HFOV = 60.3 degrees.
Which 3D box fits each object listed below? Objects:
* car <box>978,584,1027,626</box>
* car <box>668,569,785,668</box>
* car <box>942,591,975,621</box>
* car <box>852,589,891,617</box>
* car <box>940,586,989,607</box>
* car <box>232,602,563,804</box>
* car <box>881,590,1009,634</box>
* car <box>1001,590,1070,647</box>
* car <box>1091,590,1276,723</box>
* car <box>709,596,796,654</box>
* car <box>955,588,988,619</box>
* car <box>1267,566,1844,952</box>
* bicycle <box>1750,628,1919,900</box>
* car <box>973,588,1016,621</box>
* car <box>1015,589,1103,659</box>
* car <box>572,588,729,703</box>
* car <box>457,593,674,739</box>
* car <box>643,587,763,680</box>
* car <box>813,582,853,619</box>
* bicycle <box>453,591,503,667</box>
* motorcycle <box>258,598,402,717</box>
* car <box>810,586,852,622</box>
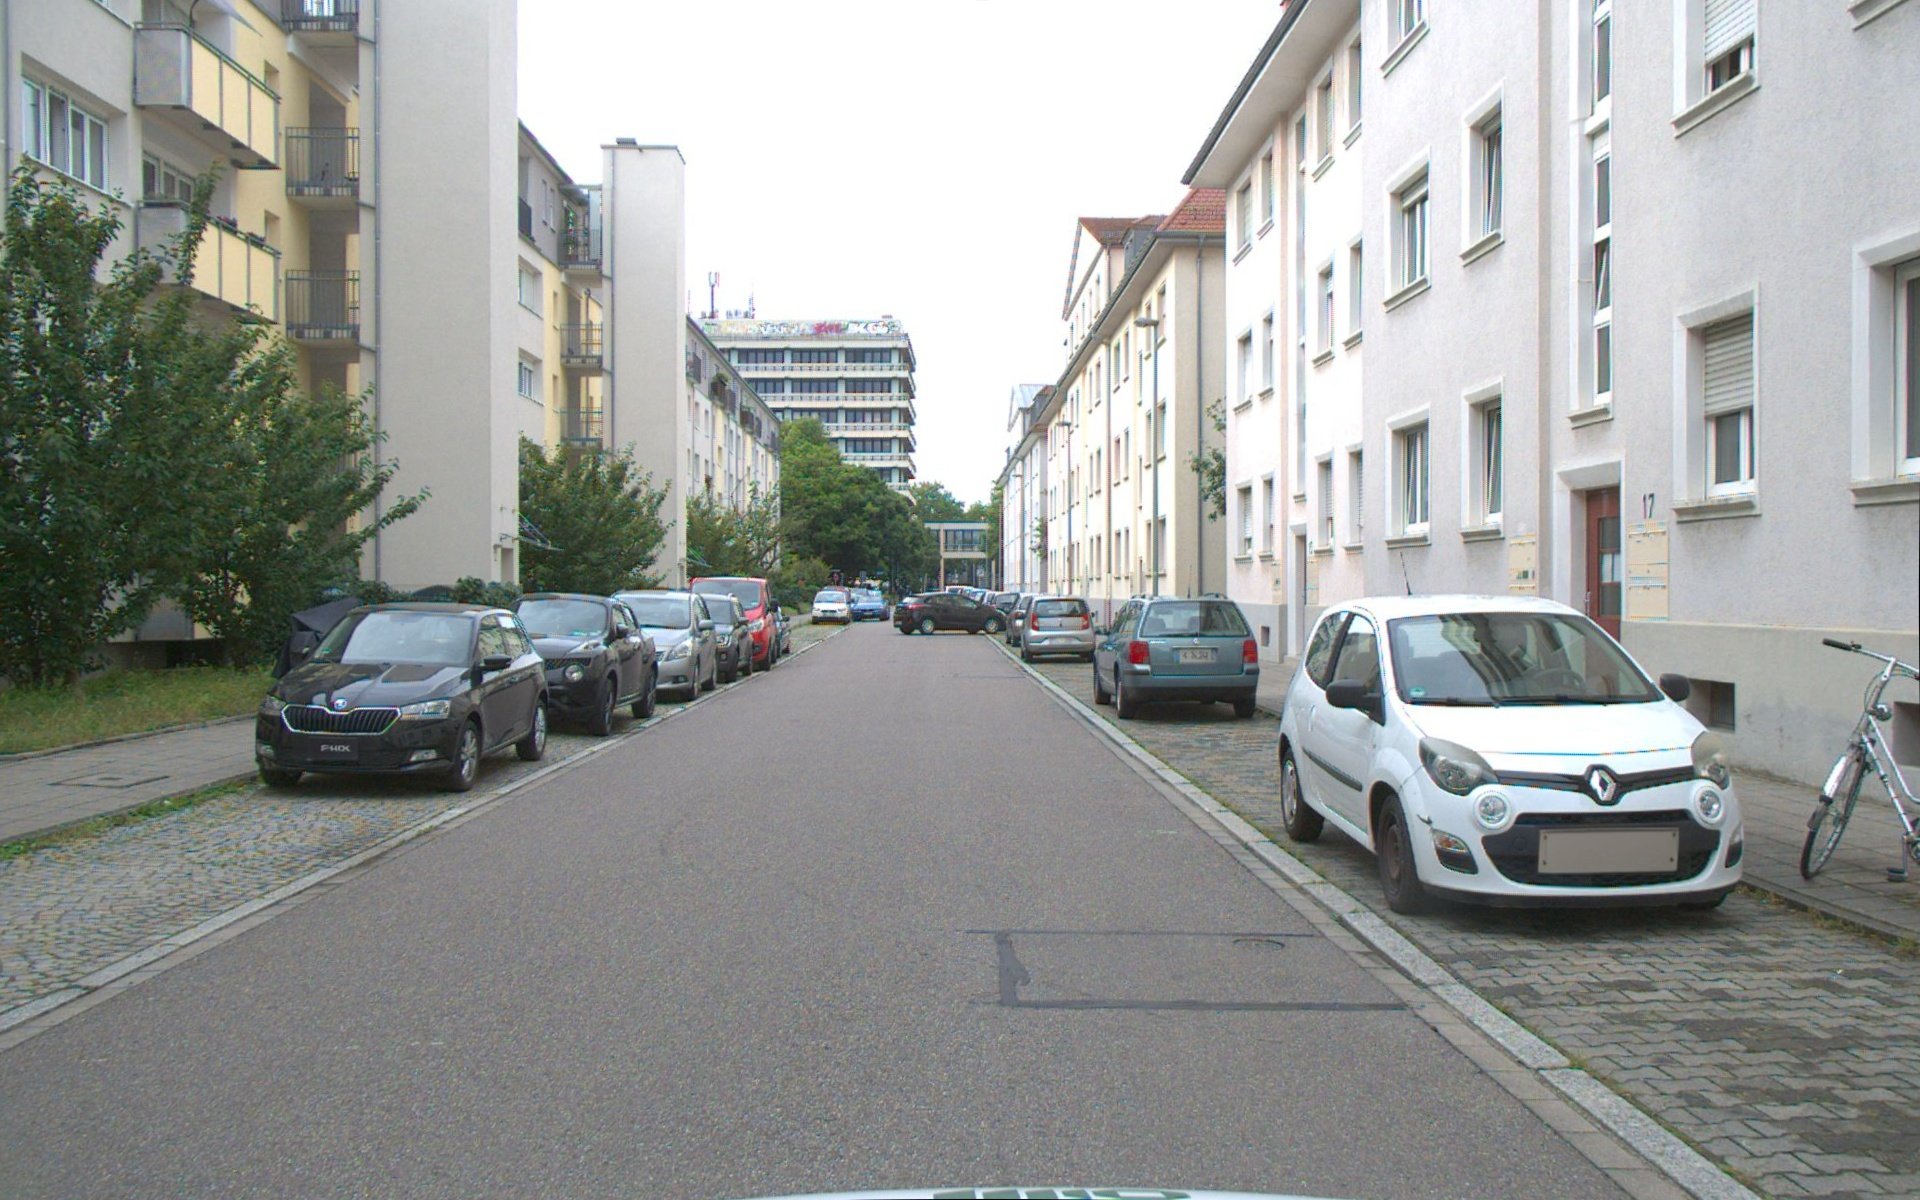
[{"bbox_3d":[1.656,0.163,64.997,1.690,1.544,4.060,-1,1,-1],"label":"car"},{"bbox_3d":[-5.066,0.357,36.523,2.109,1.988,4.918,1,0,-3],"label":"car"},{"bbox_3d":[-0.115,0.307,86.537,1.690,1.502,4.504,0,1,-1],"label":"car"},{"bbox_3d":[-4.723,0.132,88.548,1.807,1.476,4.501,0,0,0],"label":"car"},{"bbox_3d":[0.426,-0.361,150.151,4.240,1.821,1.860,-1,1,-8],"label":"car"},{"bbox_3d":[-4.742,0.789,14.514,1.610,1.463,3.856,1,0,-1],"label":"car"},{"bbox_3d":[-0.523,0.416,58.520,4.169,1.458,1.892,-1,0,-27],"label":"car"},{"bbox_3d":[2.155,0.500,48.117,1.690,1.544,4.060,-1,1,-1],"label":"car"},{"bbox_3d":[2.755,0.638,21.265,1.690,1.494,4.263,-1,1,-1],"label":"car"},{"bbox_3d":[-5.285,0.605,42.578,1.832,1.346,4.360,1,0,-2],"label":"car"},{"bbox_3d":[0.629,0.199,93.943,1.783,1.671,4.090,0,0,0],"label":"car"},{"bbox_3d":[2.914,0.661,9.009,1.747,1.627,3.804,-1,1,0],"label":"car"},{"bbox_3d":[4.533,0.743,7.740,0.593,1.159,2.124,-1,0,-2],"label":"bicycle"},{"bbox_3d":[1.524,0.179,75.244,1.811,1.475,3.832,0,0,-1],"label":"car"},{"bbox_3d":[2.217,0.499,37.935,1.690,1.518,4.059,0,0,-1],"label":"car"},{"bbox_3d":[-4.778,0.644,26.126,1.798,1.597,4.858,1,0,-3],"label":"car"},{"bbox_3d":[-4.683,0.713,20.162,1.619,1.557,3.895,1,0,1],"label":"car"},{"bbox_3d":[-4.784,0.583,31.283,1.686,1.597,4.053,1,0,-1],"label":"car"},{"bbox_3d":[-6.342,0.004,83.132,1.917,1.801,4.359,0,0,-3],"label":"car"},{"bbox_3d":[-8.001,0.457,27.501,0.541,1.212,1.725,-1,0,-8],"label":"bicycle"},{"bbox_3d":[-7.650,0.660,20.209,0.851,1.329,2.419,1,1,-1],"label":"motorcycle"},{"bbox_3d":[-5.998,0.158,77.222,1.686,1.597,3.869,1,0,-1],"label":"car"}]
